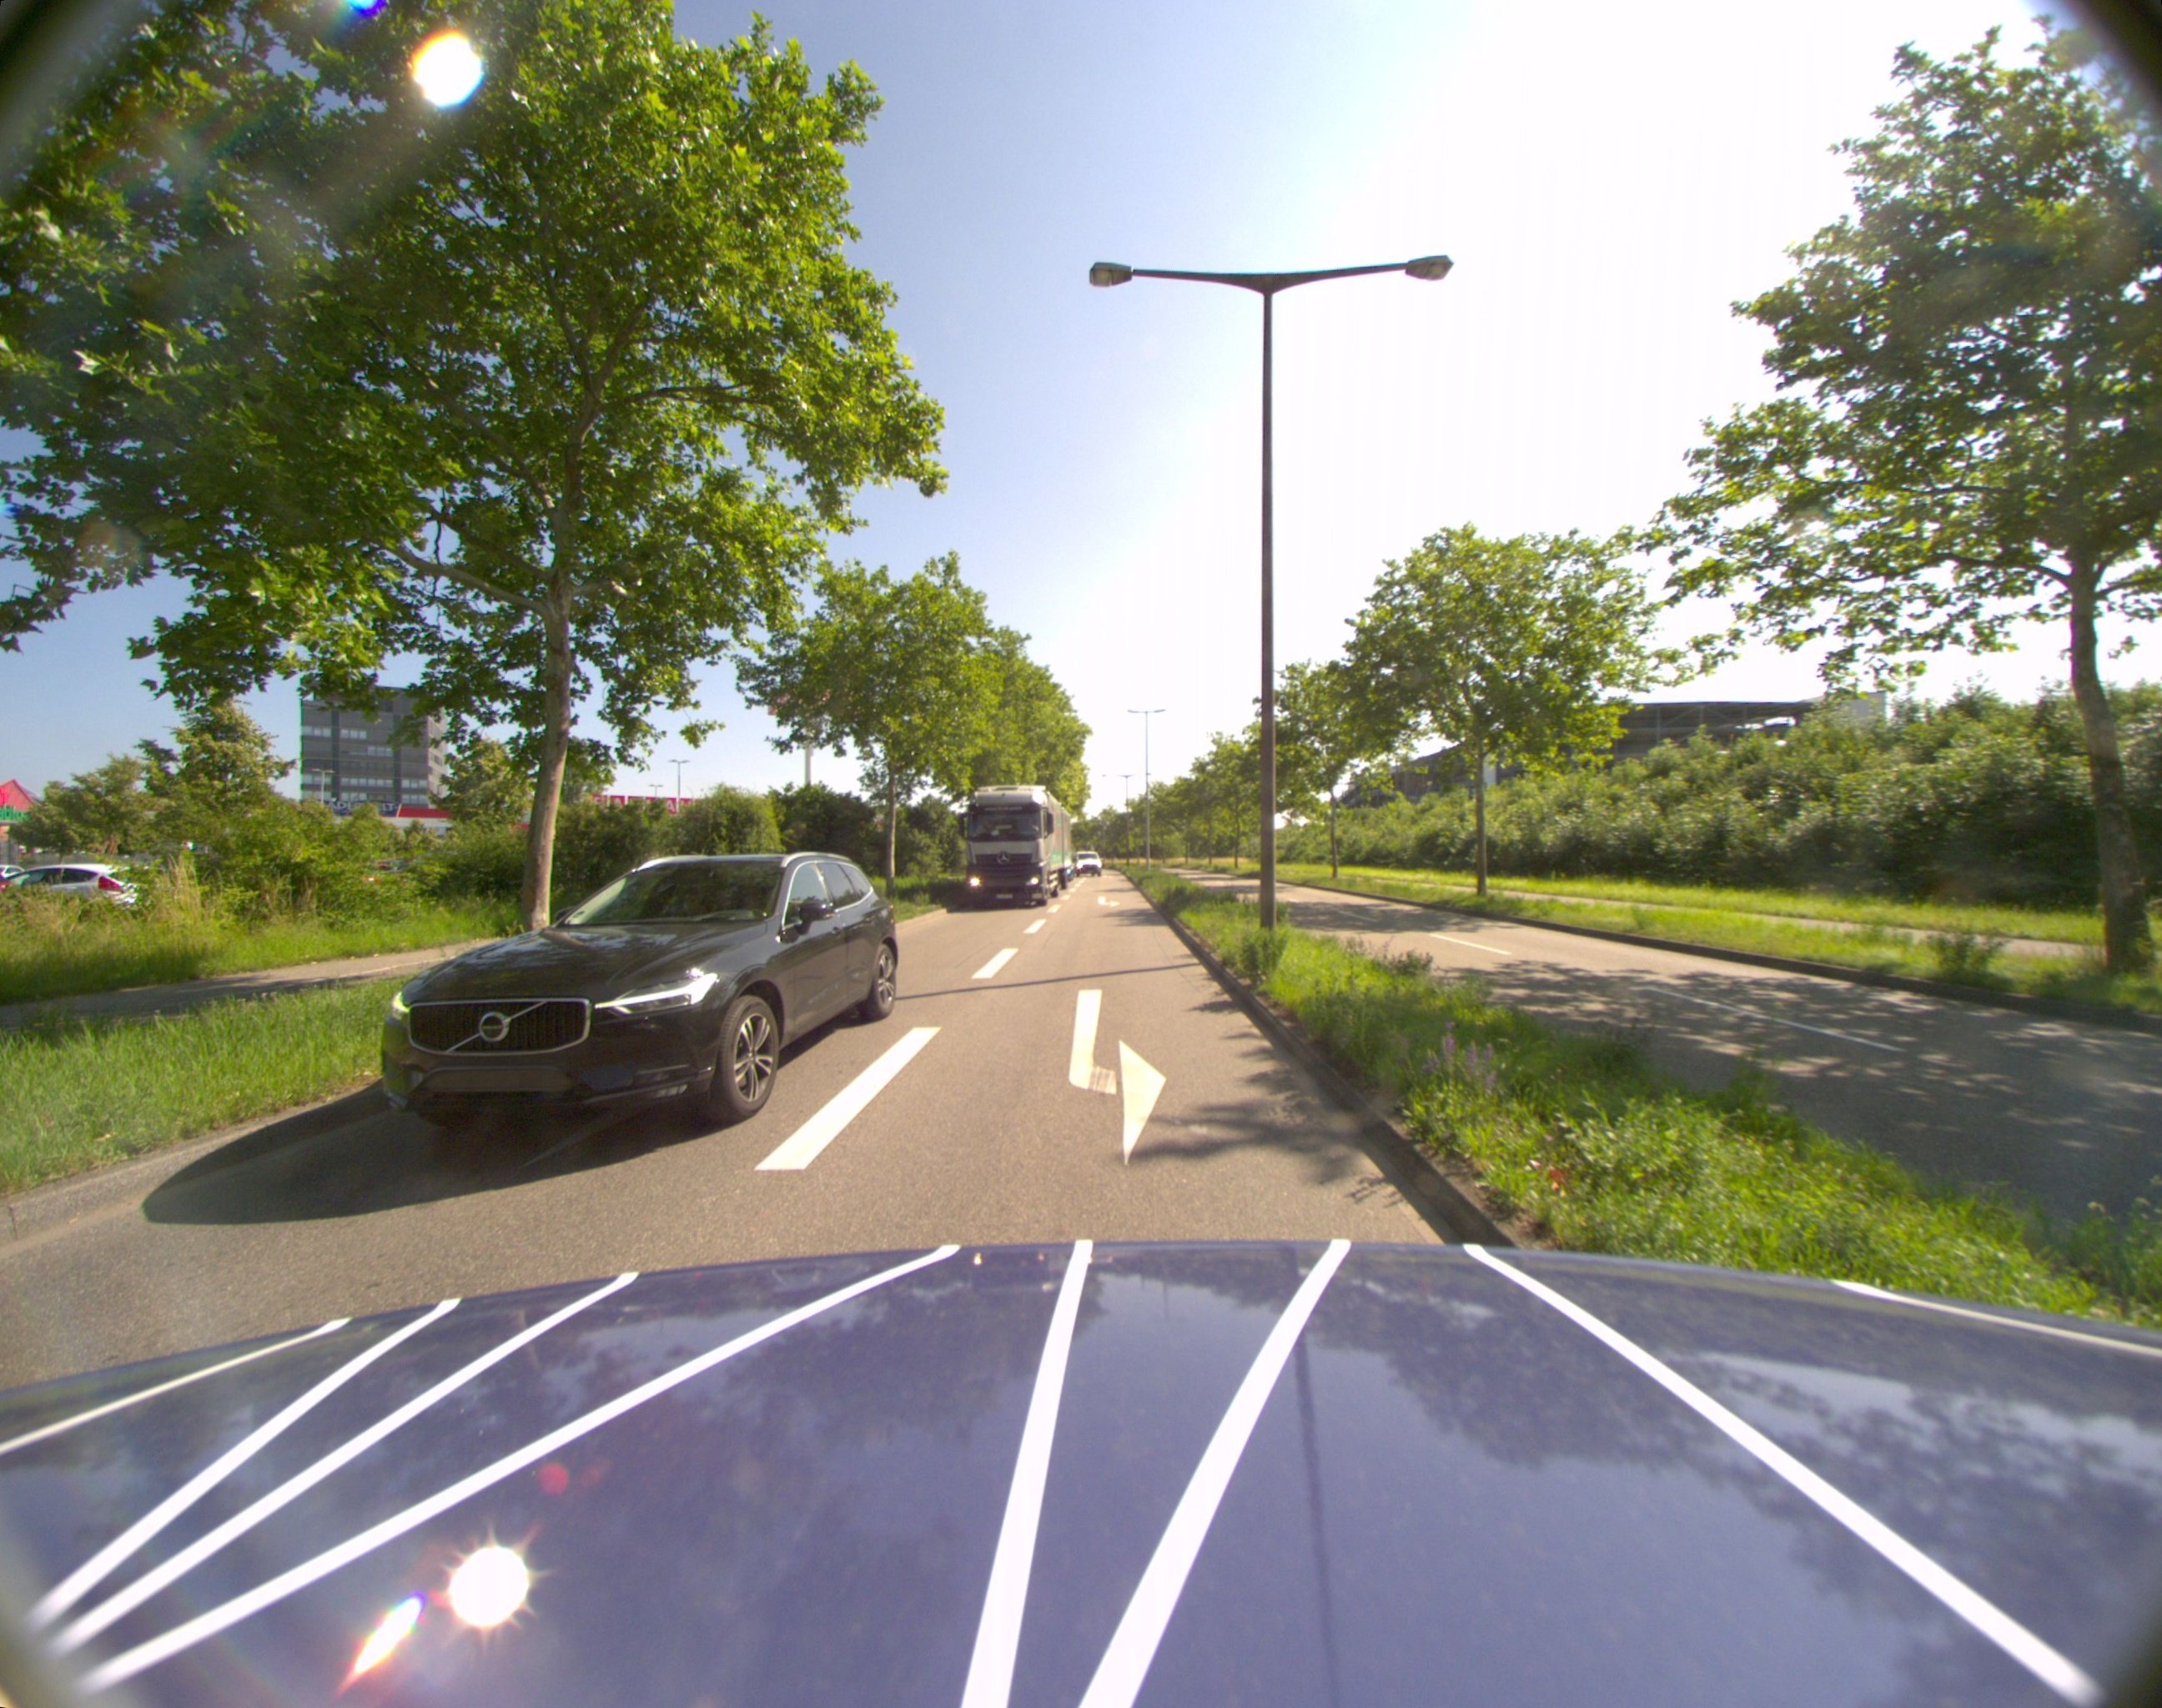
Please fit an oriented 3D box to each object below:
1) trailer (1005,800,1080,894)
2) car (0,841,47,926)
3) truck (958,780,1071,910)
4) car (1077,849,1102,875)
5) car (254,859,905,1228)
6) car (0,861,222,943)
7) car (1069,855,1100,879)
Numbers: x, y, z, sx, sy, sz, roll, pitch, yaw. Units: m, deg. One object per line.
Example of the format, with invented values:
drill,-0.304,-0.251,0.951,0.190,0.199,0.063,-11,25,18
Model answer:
trailer,-1.610,-0.337,35.538,2.743,3.854,7.736,-1,1,3
car,-22.159,0.622,13.749,4.083,1.582,1.880,-2,1,-2
truck,-2.070,-0.318,27.316,2.735,3.867,8.723,-1,1,3
car,0.662,0.574,58.748,1.872,1.889,4.881,0,0,1
car,-2.854,0.905,5.763,1.879,1.582,4.433,-2,1,1
car,-22.136,1.042,16.742,4.083,1.582,1.880,-2,1,-2
car,0.227,0.805,48.233,1.872,1.412,4.130,0,0,0
